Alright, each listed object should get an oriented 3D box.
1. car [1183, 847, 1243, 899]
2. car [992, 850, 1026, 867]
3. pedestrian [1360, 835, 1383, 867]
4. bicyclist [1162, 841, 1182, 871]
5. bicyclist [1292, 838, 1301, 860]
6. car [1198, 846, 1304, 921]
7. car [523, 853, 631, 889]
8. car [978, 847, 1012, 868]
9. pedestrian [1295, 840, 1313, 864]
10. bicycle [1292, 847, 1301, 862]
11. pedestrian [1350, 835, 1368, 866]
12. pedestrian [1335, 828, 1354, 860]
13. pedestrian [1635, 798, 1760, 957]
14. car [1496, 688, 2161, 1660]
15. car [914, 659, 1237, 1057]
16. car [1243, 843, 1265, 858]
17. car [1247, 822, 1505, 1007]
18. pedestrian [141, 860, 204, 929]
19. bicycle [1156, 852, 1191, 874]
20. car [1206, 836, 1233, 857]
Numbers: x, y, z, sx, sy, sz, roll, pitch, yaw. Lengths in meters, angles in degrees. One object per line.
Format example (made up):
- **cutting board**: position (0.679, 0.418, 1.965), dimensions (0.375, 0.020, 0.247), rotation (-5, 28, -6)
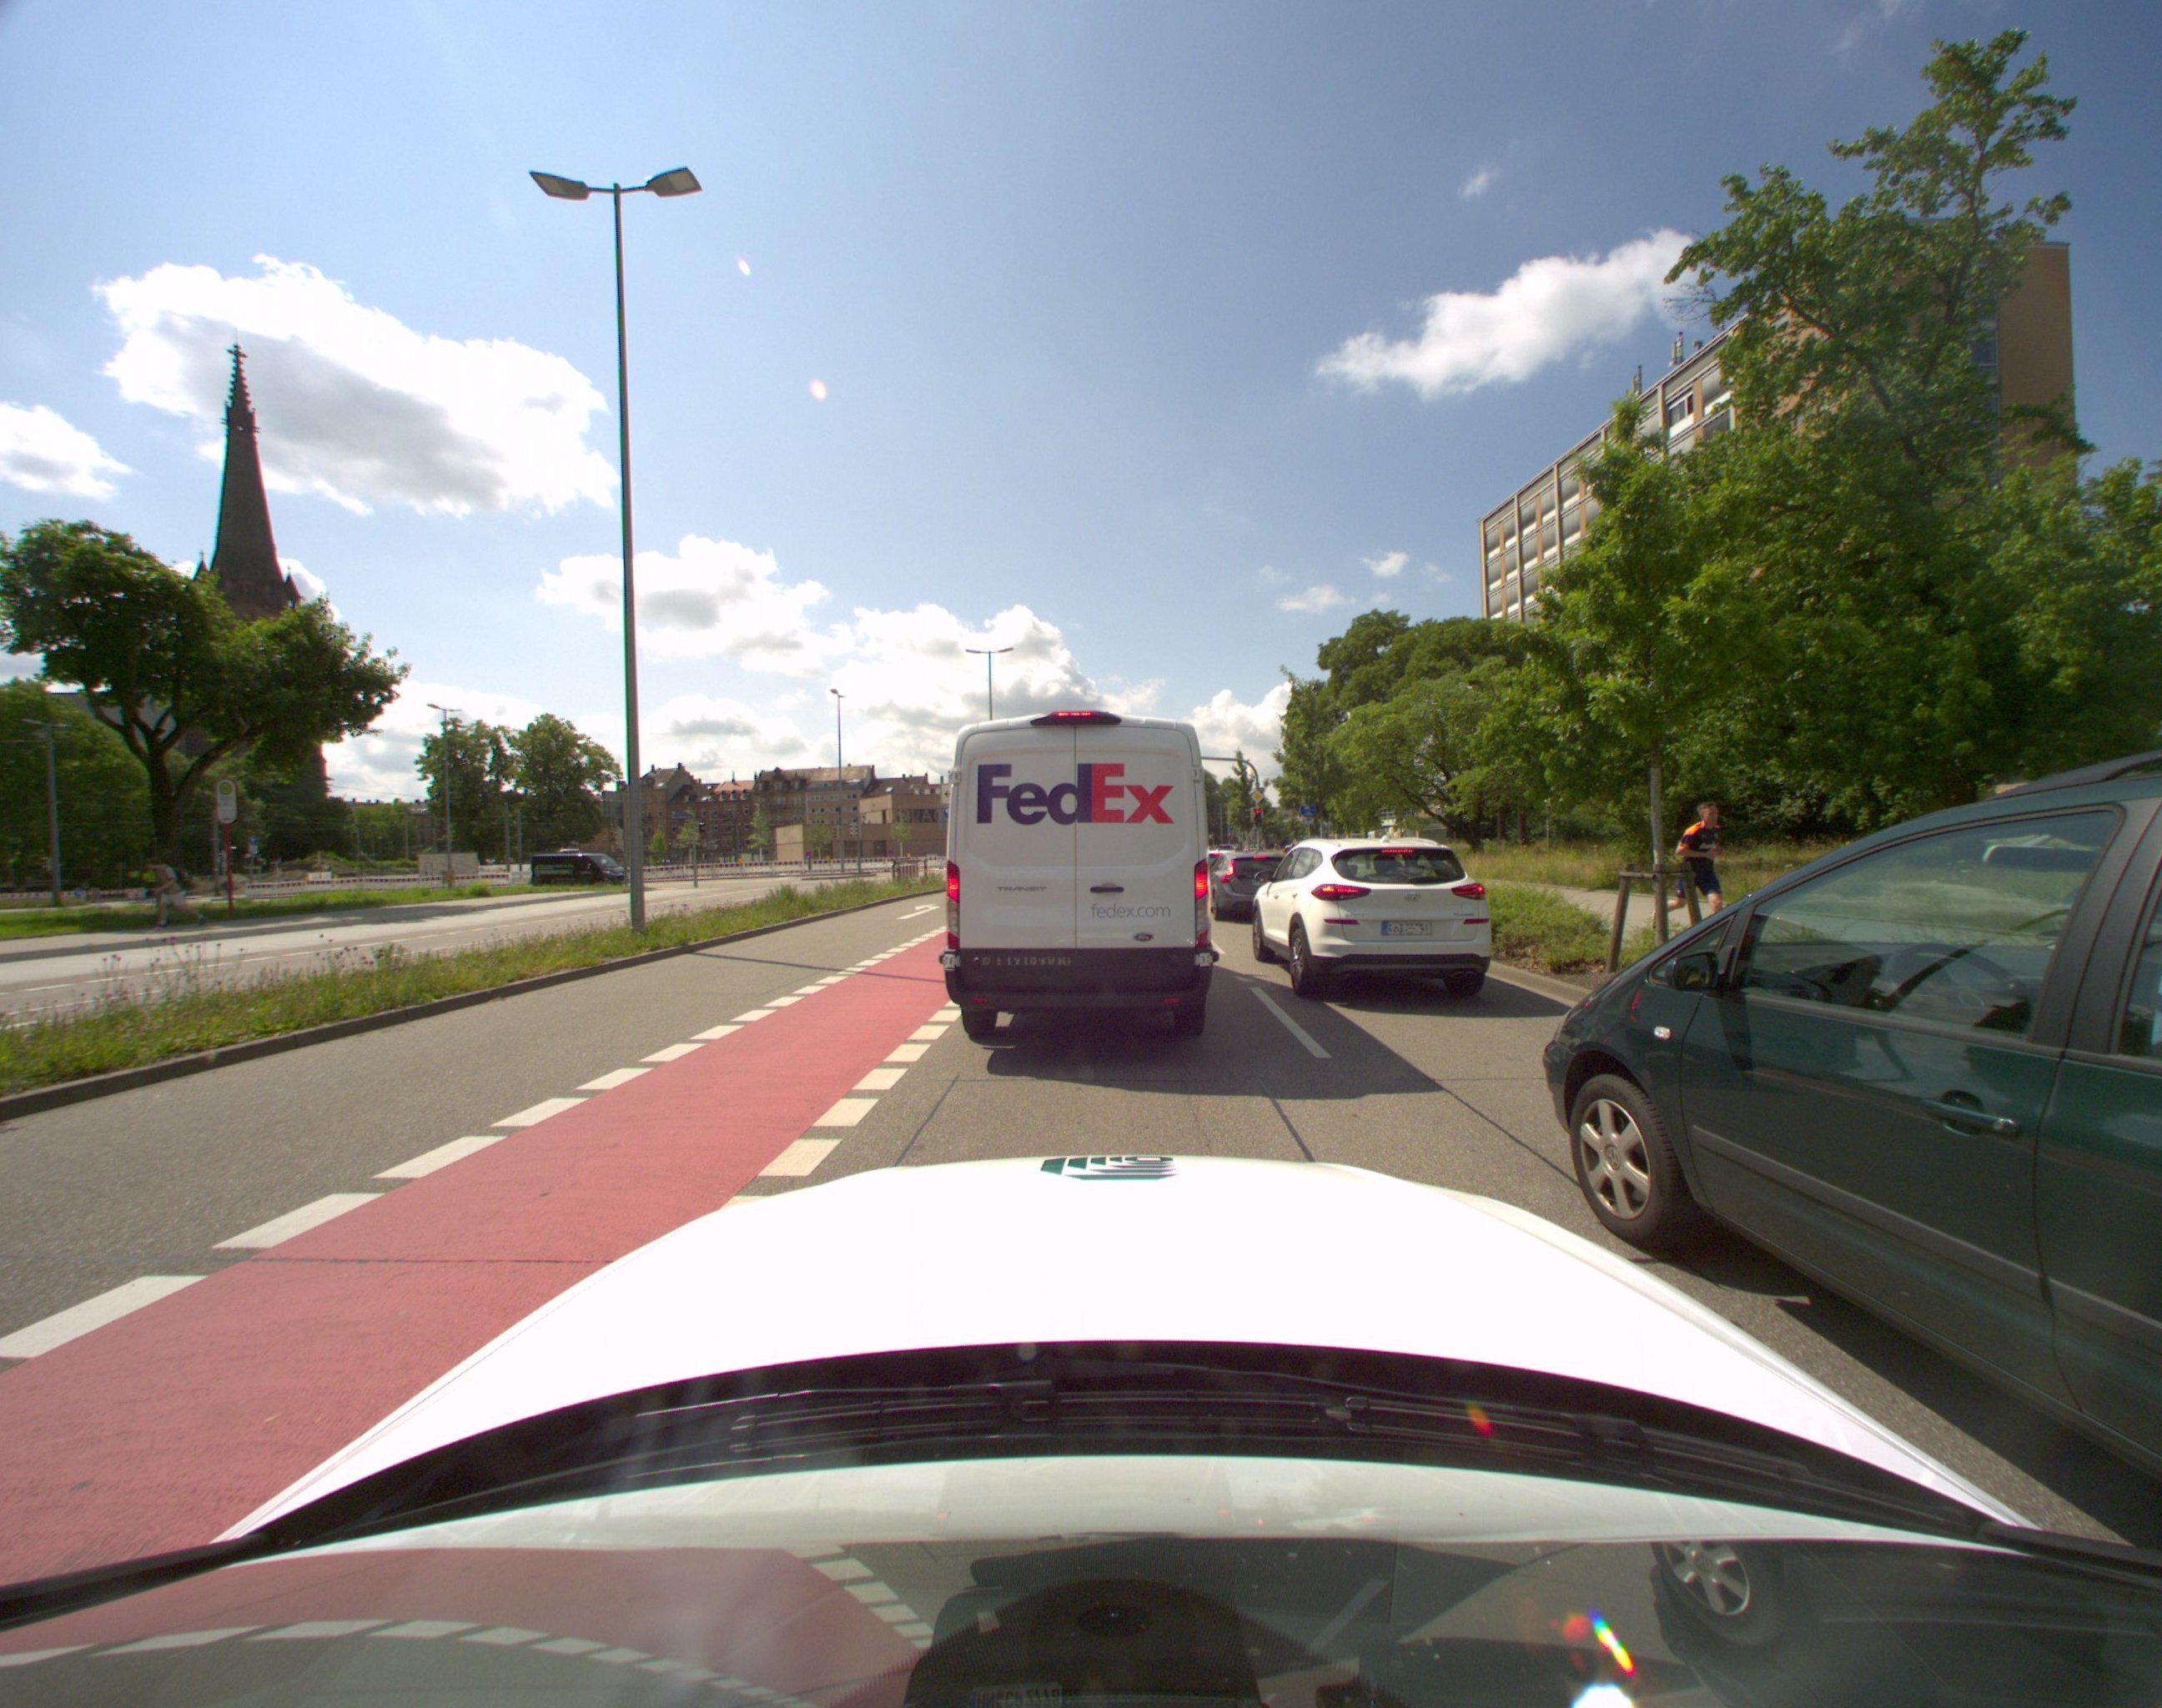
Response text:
- **car**: position (3.969, 0.534, 24.958), dimensions (1.478, 1.428, 3.436), rotation (-2, 0, 4)
- **car**: position (-6.951, 0.399, 79.163), dimensions (1.886, 1.585, 4.017), rotation (-2, 0, 16)
- **pedestrian**: position (14.346, -0.144, 40.239), dimensions (0.842, 1.539, 0.835), rotation (-2, 0, 1)
- **bicyclist**: position (5.666, 0.122, 50.668), dimensions (1.114, 1.844, 0.594), rotation (-2, 1, 2)
- **bicyclist**: position (14.844, -0.363, 56.212), dimensions (0.546, 1.474, 0.975), rotation (-2, 0, 14)
- **car**: position (3.686, 0.579, 18.280), dimensions (1.790, 1.461, 3.842), rotation (-2, 0, 4)
- **car**: position (-29.499, 0.976, 47.737), dimensions (4.995, 1.878, 1.928), rotation (-2, 1, -2)
- **car**: position (-8.569, 0.315, 81.474), dimensions (1.978, 2.013, 4.017), rotation (-2, 0, 16)
- **pedestrian**: position (12.976, -0.116, 47.328), dimensions (0.842, 1.389, 0.741), rotation (-2, 0, 1)
- **bicycle**: position (14.862, 0.032, 56.206), dimensions (0.542, 1.030, 1.933), rotation (-2, 0, 13)
- **pedestrian**: position (18.291, -0.235, 53.569), dimensions (0.845, 2.013, 0.738), rotation (-2, 0, -12)
- **pedestrian**: position (17.140, -0.627, 52.973), dimensions (0.852, 2.057, 0.732), rotation (-2, 0, -38)
- **pedestrian**: position (7.690, 0.280, 10.190), dimensions (0.947, 1.892, 0.774), rotation (-2, 0, 1)
- **car**: position (2.830, 0.559, 1.692), dimensions (1.805, 1.734, 4.390), rotation (-1, 0, 2)
- **car**: position (-0.037, 0.014, 8.349), dimensions (2.134, 2.652, 5.703), rotation (-1, 0, 0)
- **car**: position (21.836, -0.463, 102.617), dimensions (1.976, 1.794, 4.394), rotation (-2, 0, 21)
- **car**: position (3.163, 0.549, 9.619), dimensions (1.790, 1.687, 4.004), rotation (-2, 0, 4)
- **pedestrian**: position (-21.334, 0.939, 19.134), dimensions (0.548, 1.560, 0.881), rotation (-2, 0, 32)
- **bicycle**: position (5.725, 0.581, 50.524), dimensions (2.056, 1.290, 0.605), rotation (-2, 0, 2)
- **car**: position (14.006, -0.727, 82.187), dimensions (2.077, 2.013, 4.663), rotation (-2, 0, 16)
